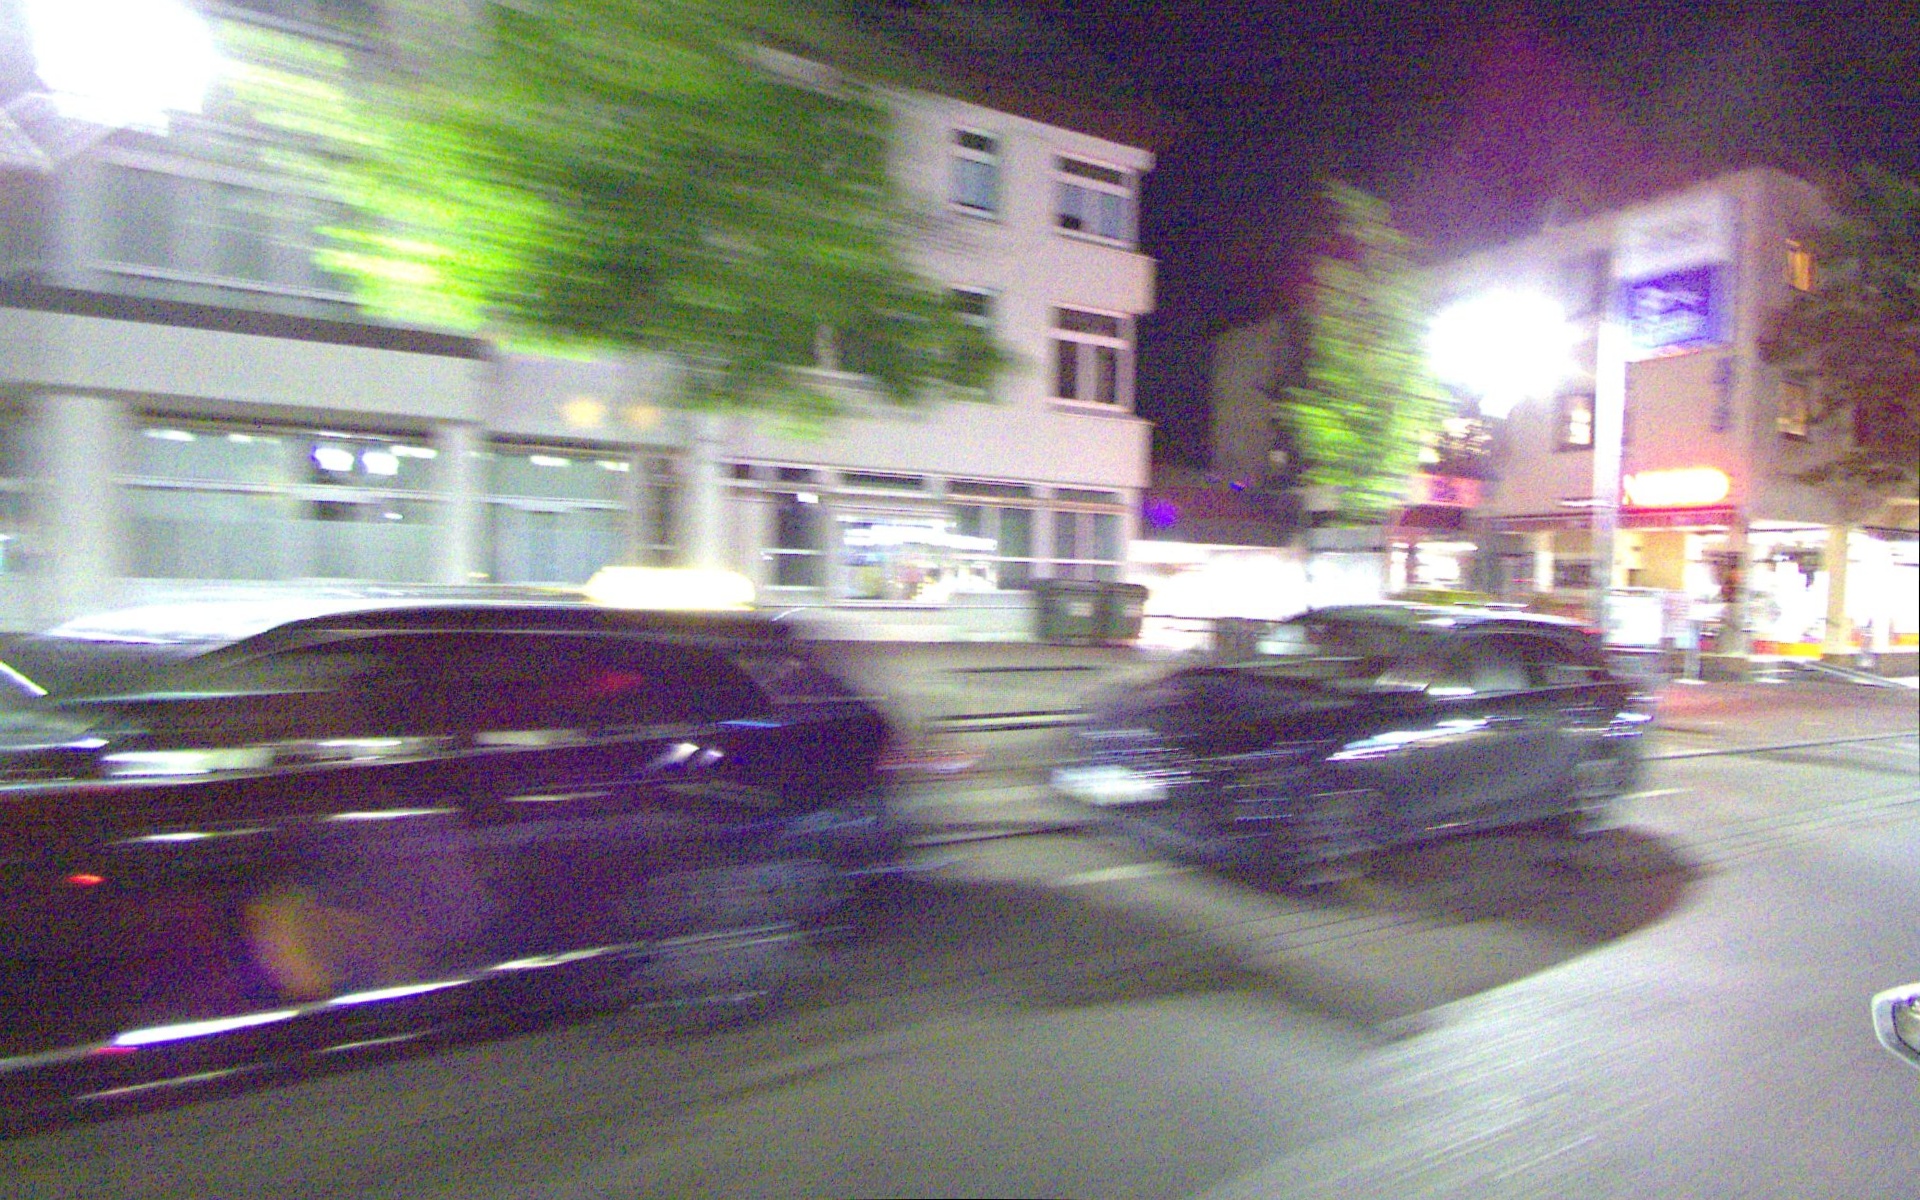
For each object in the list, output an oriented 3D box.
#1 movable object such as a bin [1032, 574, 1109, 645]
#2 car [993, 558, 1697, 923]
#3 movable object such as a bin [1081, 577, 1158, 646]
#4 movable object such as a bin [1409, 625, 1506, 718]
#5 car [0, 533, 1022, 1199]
[{"bbox_3d":[2.402,0.201,21.901,1.270,1.463,1.032,2,1,-28],"label":"movable object such as a bin"},{"bbox_3d":[2.685,0.665,6.567,4.760,1.659,1.749,1,1,-31],"label":"car"},{"bbox_3d":[3.572,0.252,22.527,1.213,1.477,1.126,2,1,-28],"label":"movable object such as a bin"},{"bbox_3d":[6.157,0.872,12.435,0.783,1.079,0.743,2,0,-30],"label":"movable object such as a bin"},{"bbox_3d":[-2.266,0.601,3.441,4.730,1.562,1.894,1,2,-33],"label":"car"}]
